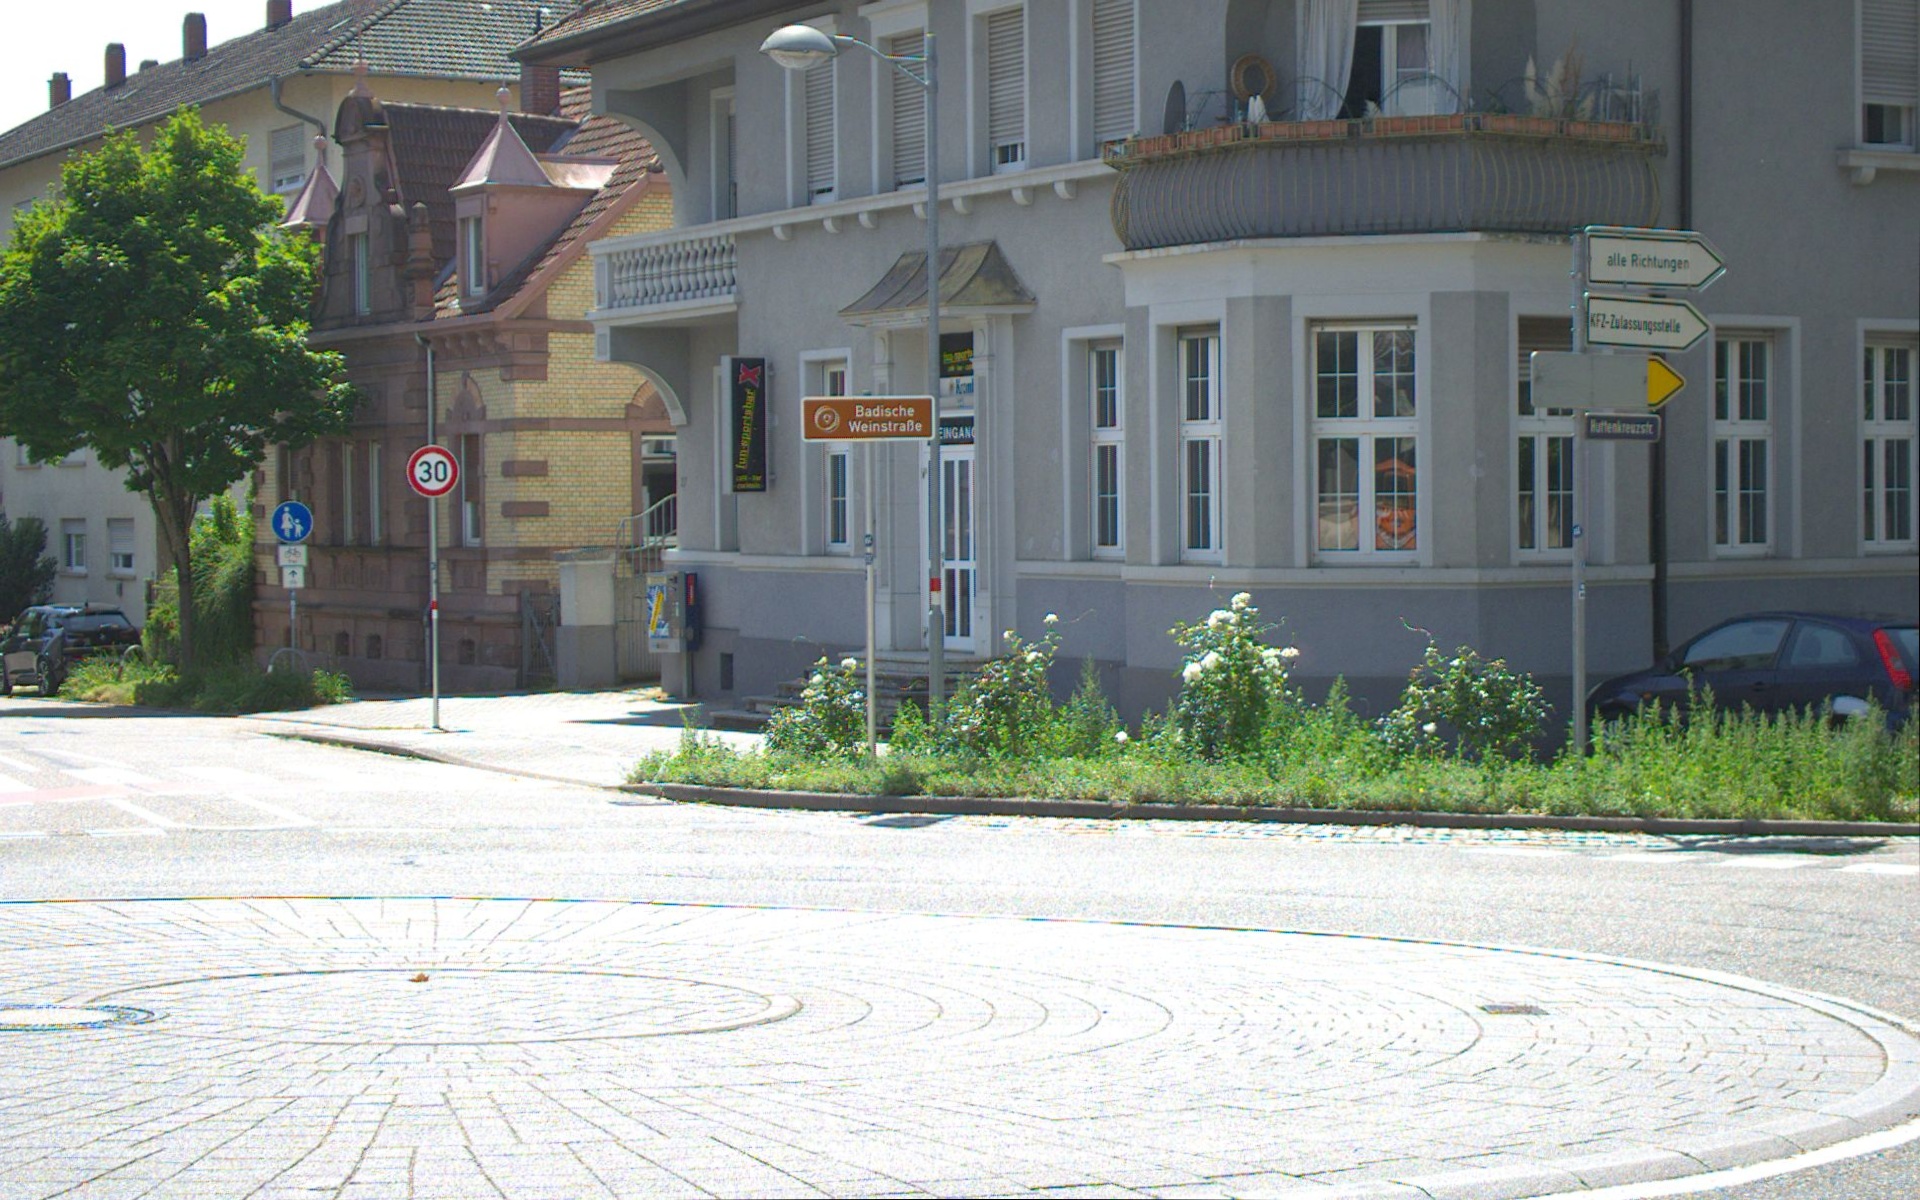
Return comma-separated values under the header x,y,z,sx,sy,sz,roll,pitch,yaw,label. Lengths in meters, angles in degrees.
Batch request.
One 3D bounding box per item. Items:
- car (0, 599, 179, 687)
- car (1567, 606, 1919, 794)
x,y,z,sx,sy,sz,roll,pitch,yaw,label
-15.586,0.736,61.077,1.993,1.504,4.419,0,0,-32,car
7.101,0.784,28.942,1.719,1.455,3.792,0,0,-36,car
